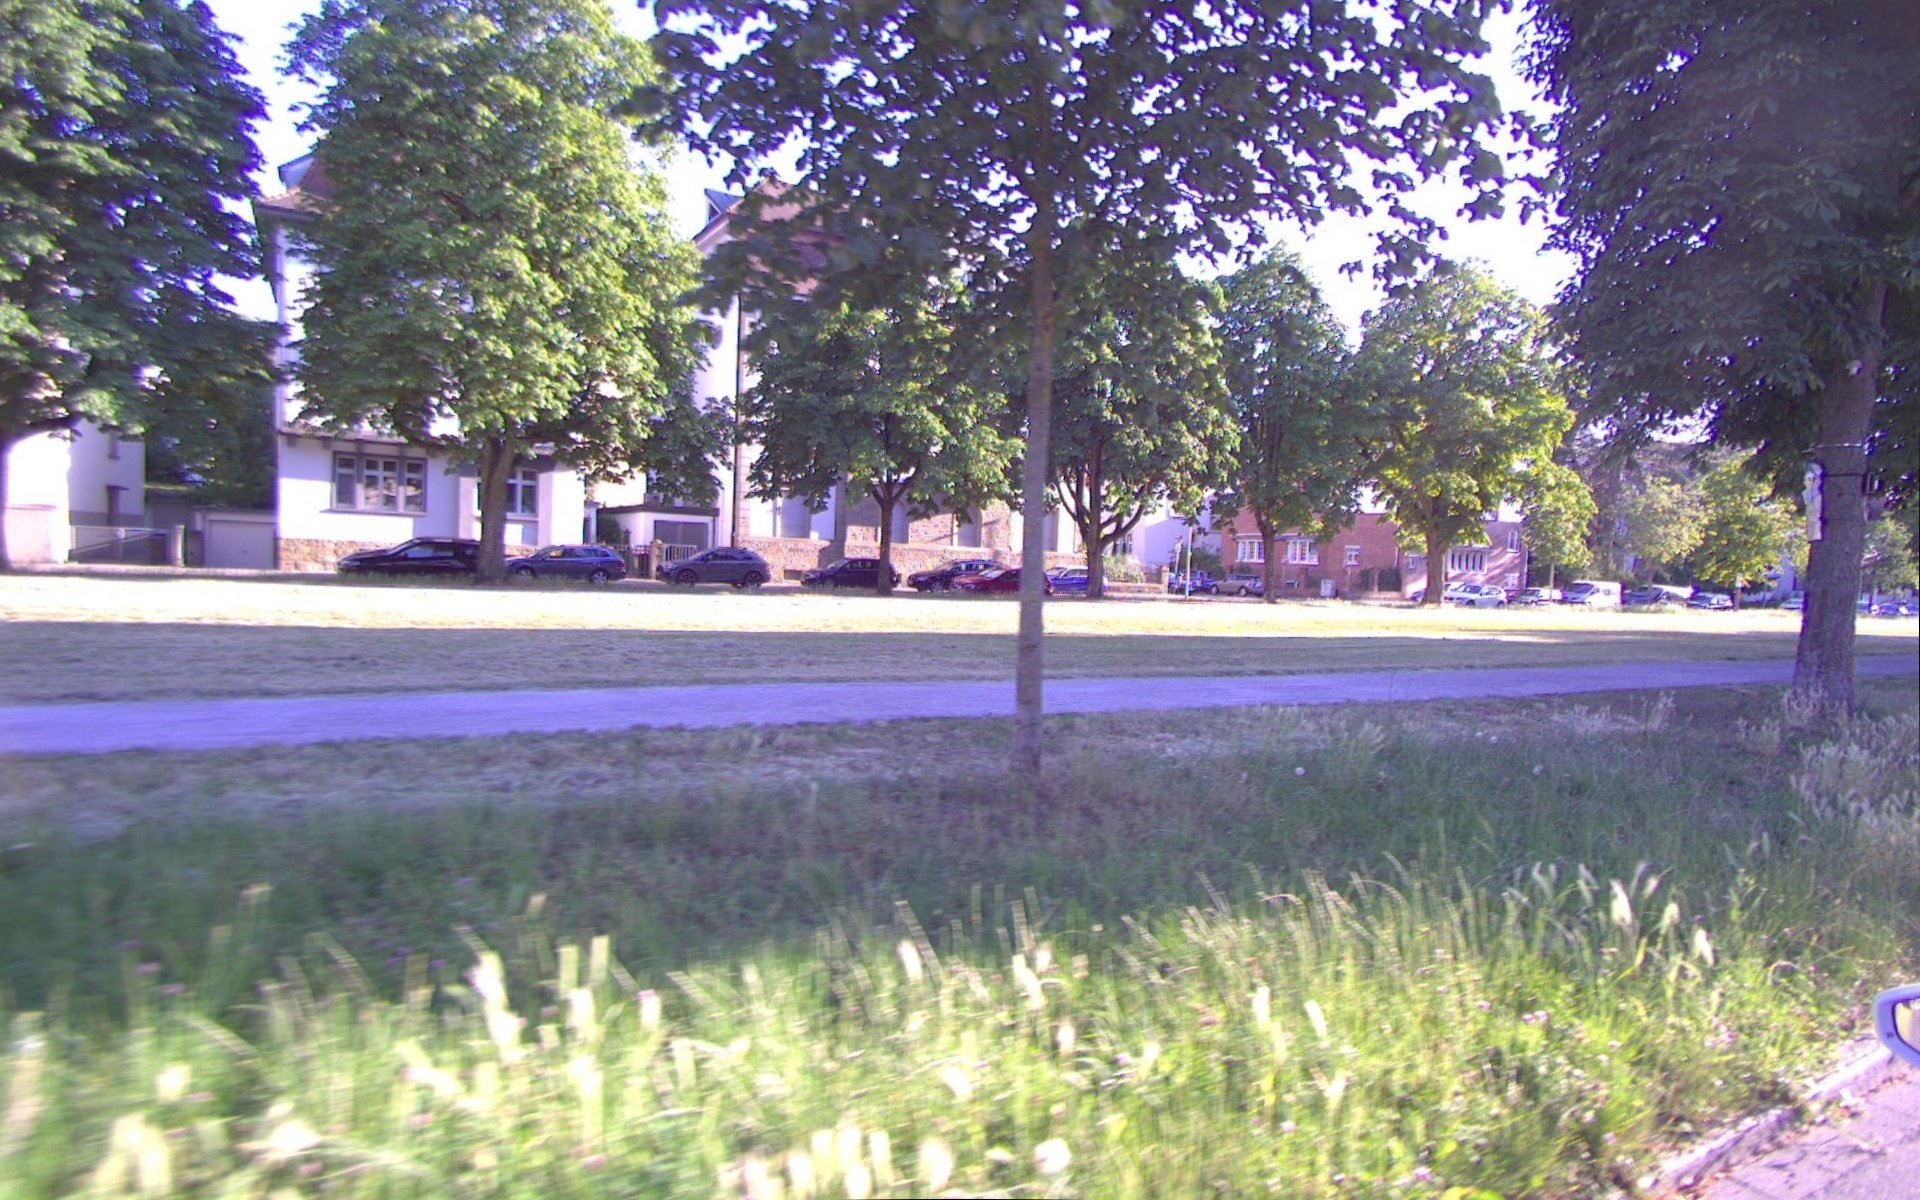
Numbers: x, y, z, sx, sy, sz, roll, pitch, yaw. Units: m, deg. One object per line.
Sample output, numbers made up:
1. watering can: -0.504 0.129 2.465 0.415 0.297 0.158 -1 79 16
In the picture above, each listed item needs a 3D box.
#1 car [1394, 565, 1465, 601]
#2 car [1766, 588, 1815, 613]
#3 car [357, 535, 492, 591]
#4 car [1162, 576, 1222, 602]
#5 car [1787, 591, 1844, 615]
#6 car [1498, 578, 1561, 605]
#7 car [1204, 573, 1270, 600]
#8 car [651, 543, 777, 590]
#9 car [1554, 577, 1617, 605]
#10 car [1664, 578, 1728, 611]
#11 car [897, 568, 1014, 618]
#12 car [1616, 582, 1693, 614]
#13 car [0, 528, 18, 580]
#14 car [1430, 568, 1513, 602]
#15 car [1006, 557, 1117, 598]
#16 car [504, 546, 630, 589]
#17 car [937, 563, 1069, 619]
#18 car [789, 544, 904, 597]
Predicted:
1. car: 28.839 -1.042 61.671 4.316 2.041 1.748 1 3 -30
2. car: 72.592 0.017 87.793 3.952 2.040 2.022 2 0 -29
3. car: -18.171 -1.259 34.231 3.950 1.758 1.985 1 3 -28
4. car: 15.730 -0.745 68.300 1.814 1.595 3.877 1 3 -30
5. car: 66.261 0.250 77.814 3.949 1.706 1.985 1 3 -28
6. car: 38.881 -0.580 68.510 4.253 1.645 1.748 1 3 -30
7. car: 17.756 -0.899 64.564 1.842 1.506 3.969 1 3 -28
8. car: -9.622 -1.293 39.384 4.379 1.675 1.983 1 2 -31
9. car: 44.109 -0.636 70.816 4.355 1.862 1.808 1 3 -30
10. car: 49.871 -0.401 68.079 3.952 2.041 1.984 1 3 -30
11. car: -0.187 -0.312 45.000 4.815 2.041 1.985 1 2 -28
12. car: 44.815 -0.132 64.782 5.182 1.967 1.984 0 3 -29
13. car: -29.339 -1.358 28.123 3.953 1.484 1.983 1 3 -30
14. car: 27.982 -0.826 54.905 4.596 1.661 1.810 1 3 -30
15. car: 4.825 -1.077 47.597 4.945 1.773 1.985 1 3 -28
16. car: -14.470 -1.201 37.001 4.117 1.449 1.985 1 3 -28
17. car: 1.722 -0.335 39.554 4.815 2.041 1.985 1 2 -28
18. car: -4.764 -1.239 42.359 4.379 2.041 1.983 1 3 -31
